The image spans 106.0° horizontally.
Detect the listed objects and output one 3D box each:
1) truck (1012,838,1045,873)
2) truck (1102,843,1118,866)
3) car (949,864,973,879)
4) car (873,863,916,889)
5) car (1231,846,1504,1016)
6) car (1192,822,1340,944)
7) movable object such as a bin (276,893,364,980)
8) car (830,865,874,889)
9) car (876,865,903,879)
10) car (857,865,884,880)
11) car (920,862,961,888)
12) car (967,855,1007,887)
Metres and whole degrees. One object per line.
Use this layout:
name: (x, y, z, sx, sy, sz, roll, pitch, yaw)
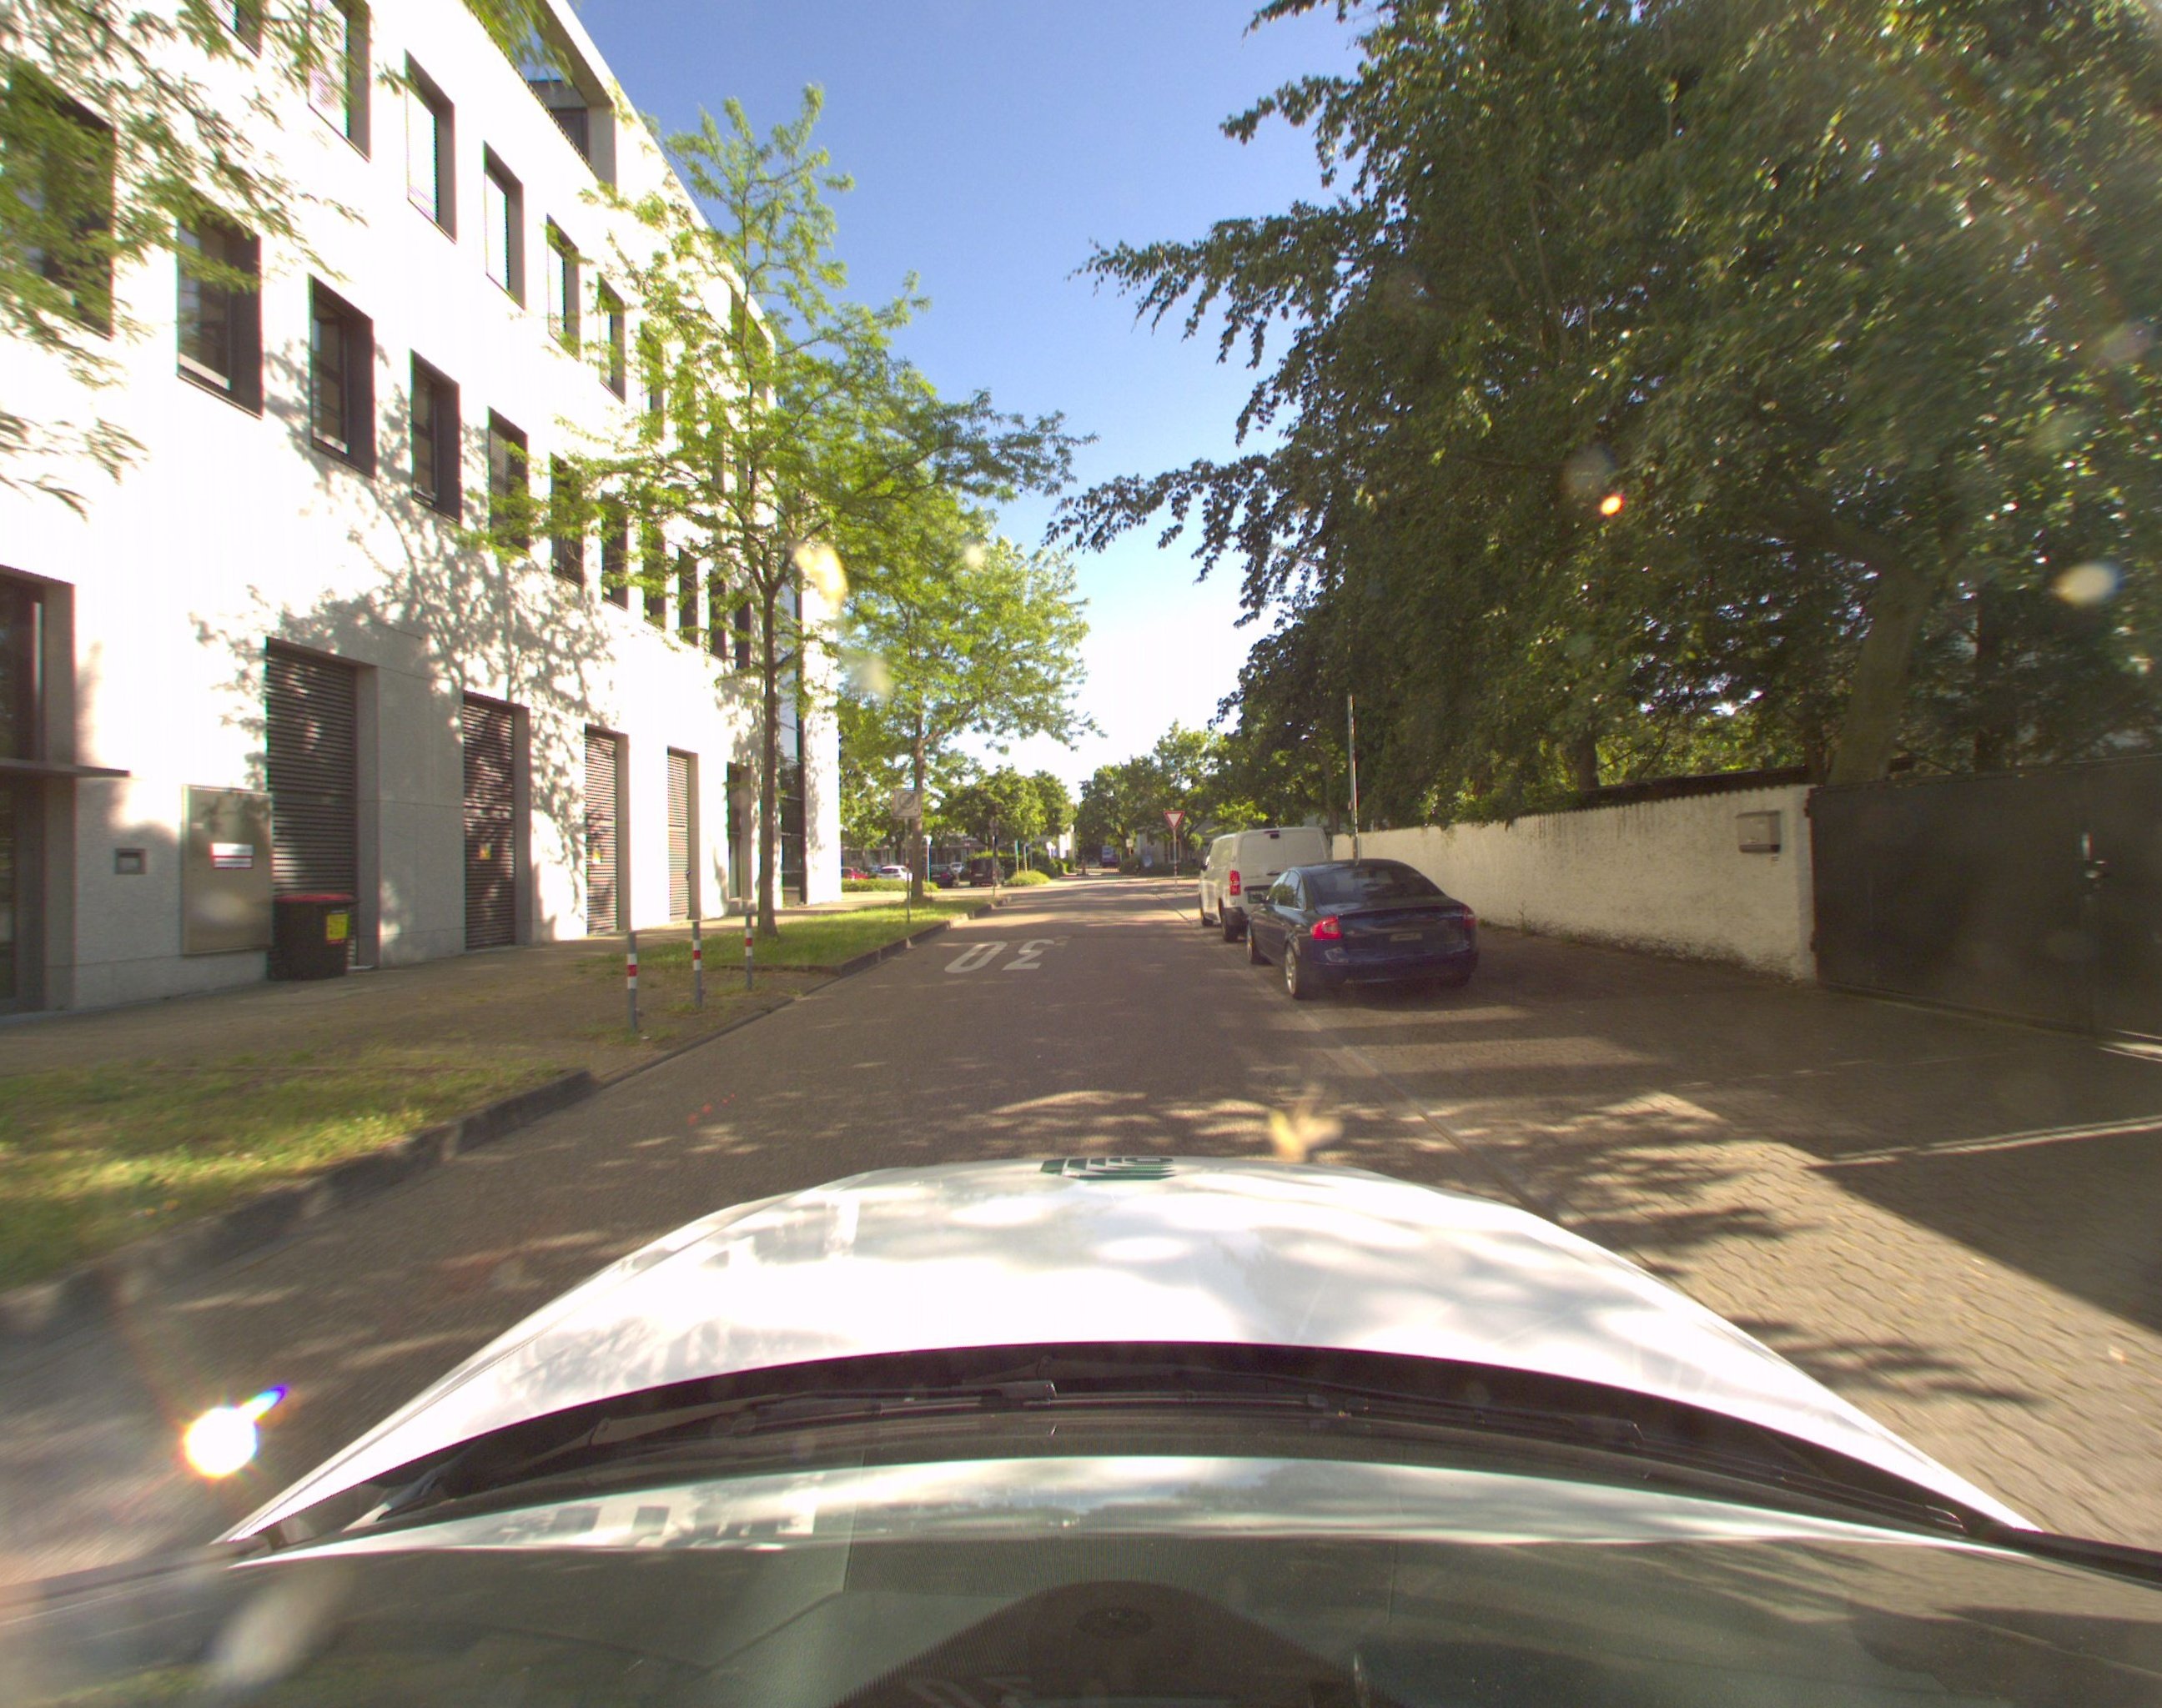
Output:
truck: (-5.972, 0.203, 93.266, 2.790, 3.807, 6.931, -1, 0, 4)
truck: (5.323, 0.099, 146.513, 2.749, 3.869, 9.335, -1, 0, 2)
car: (-13.440, 1.952, 91.505, 1.828, 1.497, 3.912, -2, 0, 4)
car: (-11.916, 1.372, 52.207, 1.796, 1.436, 3.912, -1, 1, 0)
car: (3.045, 0.720, 9.692, 1.818, 1.423, 4.286, -5, 0, 3)
car: (3.352, 0.479, 15.813, 1.891, 1.914, 5.152, -2, 0, 3)
movable object such as a bin: (-9.595, 1.031, 10.279, 0.591, 1.040, 0.543, -1, 0, 0)
car: (-14.639, 1.443, 52.237, 1.662, 1.426, 3.912, -1, 0, 0)
car: (-21.620, 2.035, 92.002, 1.828, 1.497, 3.912, -2, 0, 4)
car: (-23.736, 2.056, 91.950, 1.828, 1.497, 3.912, -2, 0, 4)
car: (-8.935, 1.297, 51.926, 1.817, 1.406, 4.168, -2, 1, 0)
car: (-5.948, 1.040, 52.112, 1.867, 1.846, 4.171, -2, 1, 2)
